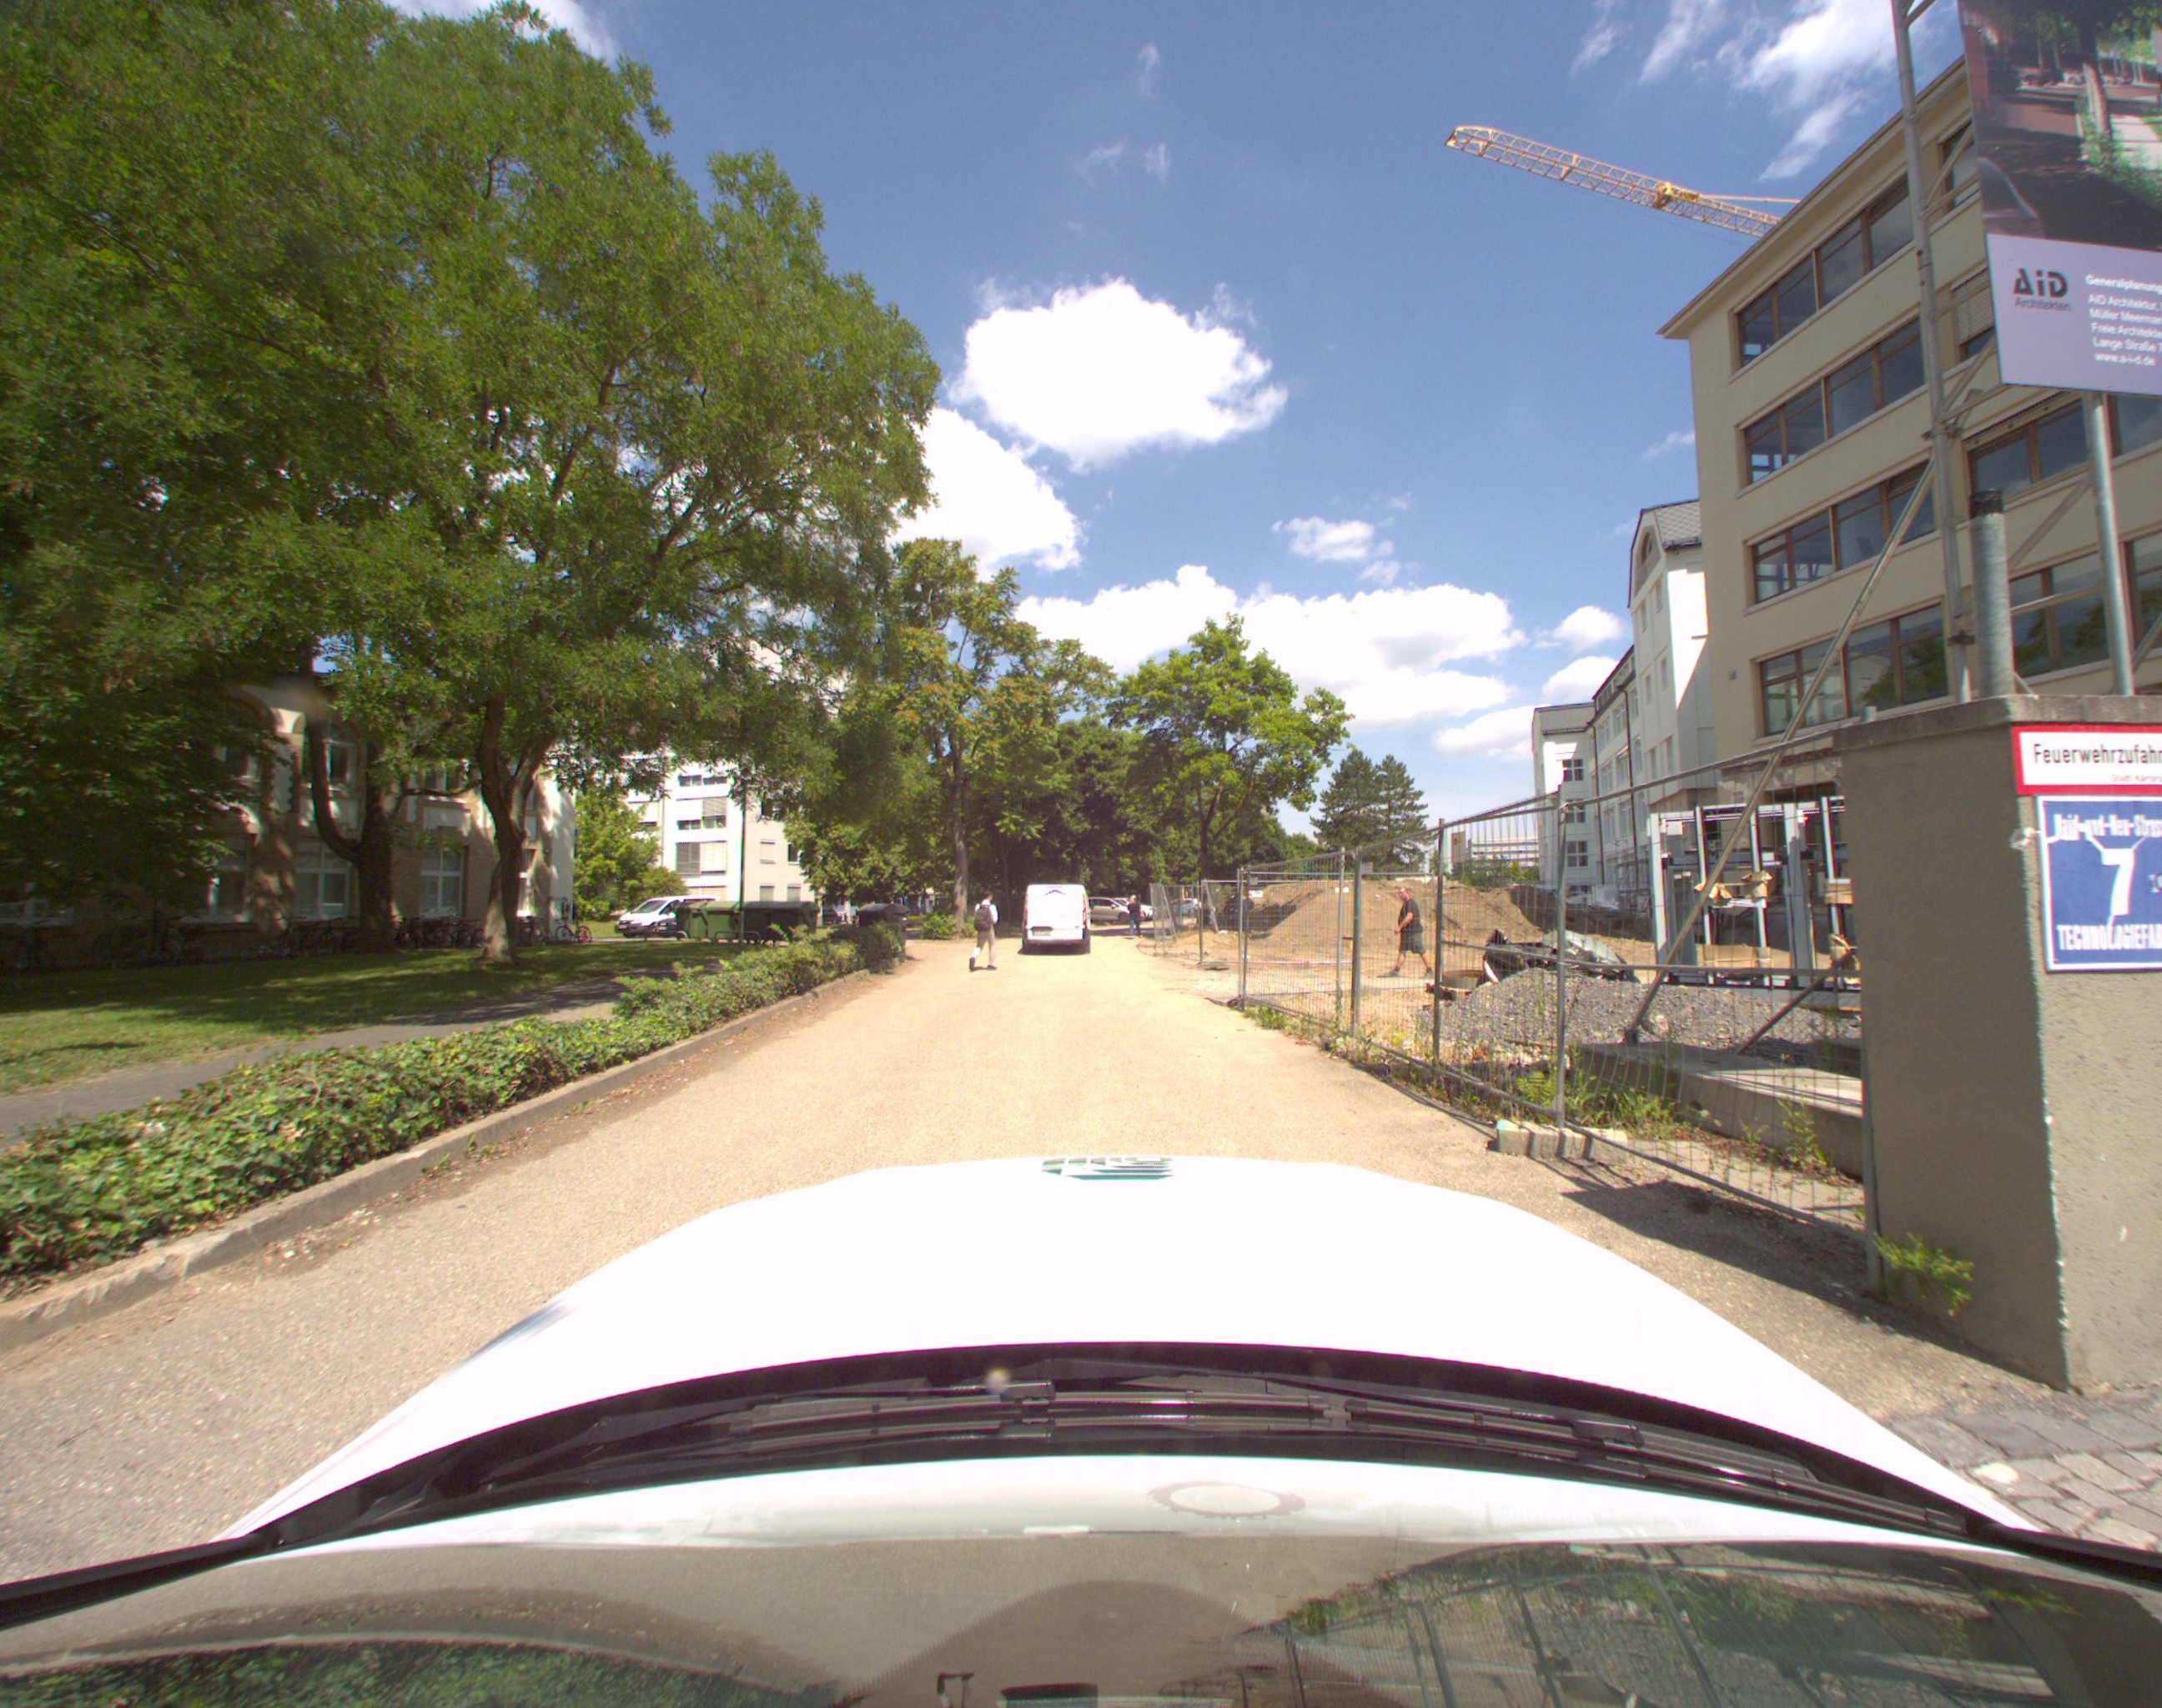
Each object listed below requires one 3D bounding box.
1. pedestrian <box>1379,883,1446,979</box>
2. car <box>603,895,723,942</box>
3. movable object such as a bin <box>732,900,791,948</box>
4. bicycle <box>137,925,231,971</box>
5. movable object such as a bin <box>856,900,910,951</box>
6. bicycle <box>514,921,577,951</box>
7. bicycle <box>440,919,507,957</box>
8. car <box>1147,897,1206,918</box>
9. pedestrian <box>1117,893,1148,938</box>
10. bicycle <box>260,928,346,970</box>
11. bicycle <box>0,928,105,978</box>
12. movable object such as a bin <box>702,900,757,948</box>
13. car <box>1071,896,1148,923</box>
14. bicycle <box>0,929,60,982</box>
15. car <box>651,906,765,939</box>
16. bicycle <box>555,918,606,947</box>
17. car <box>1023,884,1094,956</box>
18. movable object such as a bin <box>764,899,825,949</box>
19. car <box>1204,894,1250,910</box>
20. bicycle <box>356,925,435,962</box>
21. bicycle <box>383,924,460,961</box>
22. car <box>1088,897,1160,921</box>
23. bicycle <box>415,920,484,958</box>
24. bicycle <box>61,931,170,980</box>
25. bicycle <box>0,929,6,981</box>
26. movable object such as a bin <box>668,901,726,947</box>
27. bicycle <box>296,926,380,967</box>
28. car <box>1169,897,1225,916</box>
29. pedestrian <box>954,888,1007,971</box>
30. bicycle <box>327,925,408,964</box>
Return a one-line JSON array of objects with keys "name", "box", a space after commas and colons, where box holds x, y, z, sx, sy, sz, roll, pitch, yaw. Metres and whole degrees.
[{"name": "pedestrian", "box": [6.509, 1.495, 16.036, 0.960, 1.820, 0.871, -1, -3, 5]}, {"name": "car", "box": [-19.548, 2.985, 38.344, 1.976, 2.014, 4.800, -3, -4, 23]}, {"name": "movable object such as a bin", "box": [-10.108, 2.206, 25.815, 1.346, 1.480, 1.100, -2, -3, 12]}, {"name": "bicycle", "box": [-20.938, 2.185, 19.011, 2.233, 1.011, 0.610, -2, -4, 19]}, {"name": "movable object such as a bin", "box": [-5.754, 2.053, 23.654, 1.122, 1.394, 1.146, 2, -4, -44]}, {"name": "bicycle", "box": [-17.666, 2.687, 26.837, 2.232, 0.958, 0.610, -2, -4, 25]}, {"name": "bicycle", "box": [-18.562, 2.549, 24.882, 2.232, 1.082, 0.610, -2, -4, 25]}, {"name": "car", "box": [7.784, 4.341, 66.419, 4.466, 1.598, 1.734, -2, -3, 22]}, {"name": "pedestrian", "box": [1.920, 2.265, 30.209, 1.030, 1.650, 1.051, -1, -3, 7]}, {"name": "bicycle", "box": [-20.062, 2.427, 21.005, 2.233, 1.011, 0.610, -2, -4, 19]}, {"name": "bicycle", "box": [-21.808, 2.074, 17.198, 2.235, 1.011, 0.609, -1, -4, 15]}, {"name": "movable object such as a bin", "box": [-11.379, 2.254, 26.389, 1.246, 1.480, 1.053, -2, -4, 23]}, {"name": "car", "box": [1.845, 3.600, 52.433, 4.465, 1.610, 2.010, -2, -6, 23]}, {"name": "bicycle", "box": [-21.926, 2.043, 16.547, 2.235, 1.011, 0.572, -1, -4, 15]}, {"name": "car", "box": [-16.740, 3.057, 36.844, 1.811, 1.352, 4.651, -2, -4, 23]}, {"name": "bicycle", "box": [-17.268, 2.707, 28.076, 1.708, 0.958, 0.617, -2, -4, 25]}, {"name": "car", "box": [-0.690, 1.966, 24.930, 1.968, 1.947, 4.576, -1, -3, -2]}, {"name": "movable object such as a bin", "box": [-8.893, 2.162, 25.304, 1.309, 1.480, 1.214, -2, -3, 20]}, {"name": "car", "box": [15.481, 5.126, 86.442, 4.466, 1.598, 1.734, -2, -3, 22]}, {"name": "bicycle", "box": [-19.348, 2.507, 22.968, 2.233, 1.011, 0.610, -2, -4, 19]}, {"name": "bicycle", "box": [-19.086, 2.537, 23.575, 2.233, 1.011, 0.610, -2, -4, 19]}, {"name": "car", "box": [2.882, 3.717, 54.758, 4.466, 1.532, 1.734, -2, -4, 22]}, {"name": "bicycle", "box": [-18.858, 2.528, 24.307, 2.232, 1.082, 0.610, -2, -4, 25]}, {"name": "bicycle", "box": [-21.410, 2.229, 18.061, 2.235, 1.011, 0.609, -1, -4, 15]}, {"name": "bicycle", "box": [-22.279, 1.982, 15.948, 2.235, 1.012, 0.635, -1, -4, 15]}, {"name": "movable object such as a bin", "box": [-12.725, 2.304, 26.989, 1.393, 1.480, 1.053, -2, -4, 23]}, {"name": "bicycle", "box": [-19.830, 2.451, 21.732, 2.233, 1.011, 0.610, -2, -4, 19]}, {"name": "car", "box": [10.159, 4.643, 71.543, 4.465, 1.598, 1.947, -2, -4, 23]}, {"name": "pedestrian", "box": [-2.180, 1.625, 17.733, 0.869, 1.730, 1.082, -1, -3, 8]}, {"name": "bicycle", "box": [-19.557, 2.473, 22.329, 2.233, 1.011, 0.610, -2, -4, 19]}]
